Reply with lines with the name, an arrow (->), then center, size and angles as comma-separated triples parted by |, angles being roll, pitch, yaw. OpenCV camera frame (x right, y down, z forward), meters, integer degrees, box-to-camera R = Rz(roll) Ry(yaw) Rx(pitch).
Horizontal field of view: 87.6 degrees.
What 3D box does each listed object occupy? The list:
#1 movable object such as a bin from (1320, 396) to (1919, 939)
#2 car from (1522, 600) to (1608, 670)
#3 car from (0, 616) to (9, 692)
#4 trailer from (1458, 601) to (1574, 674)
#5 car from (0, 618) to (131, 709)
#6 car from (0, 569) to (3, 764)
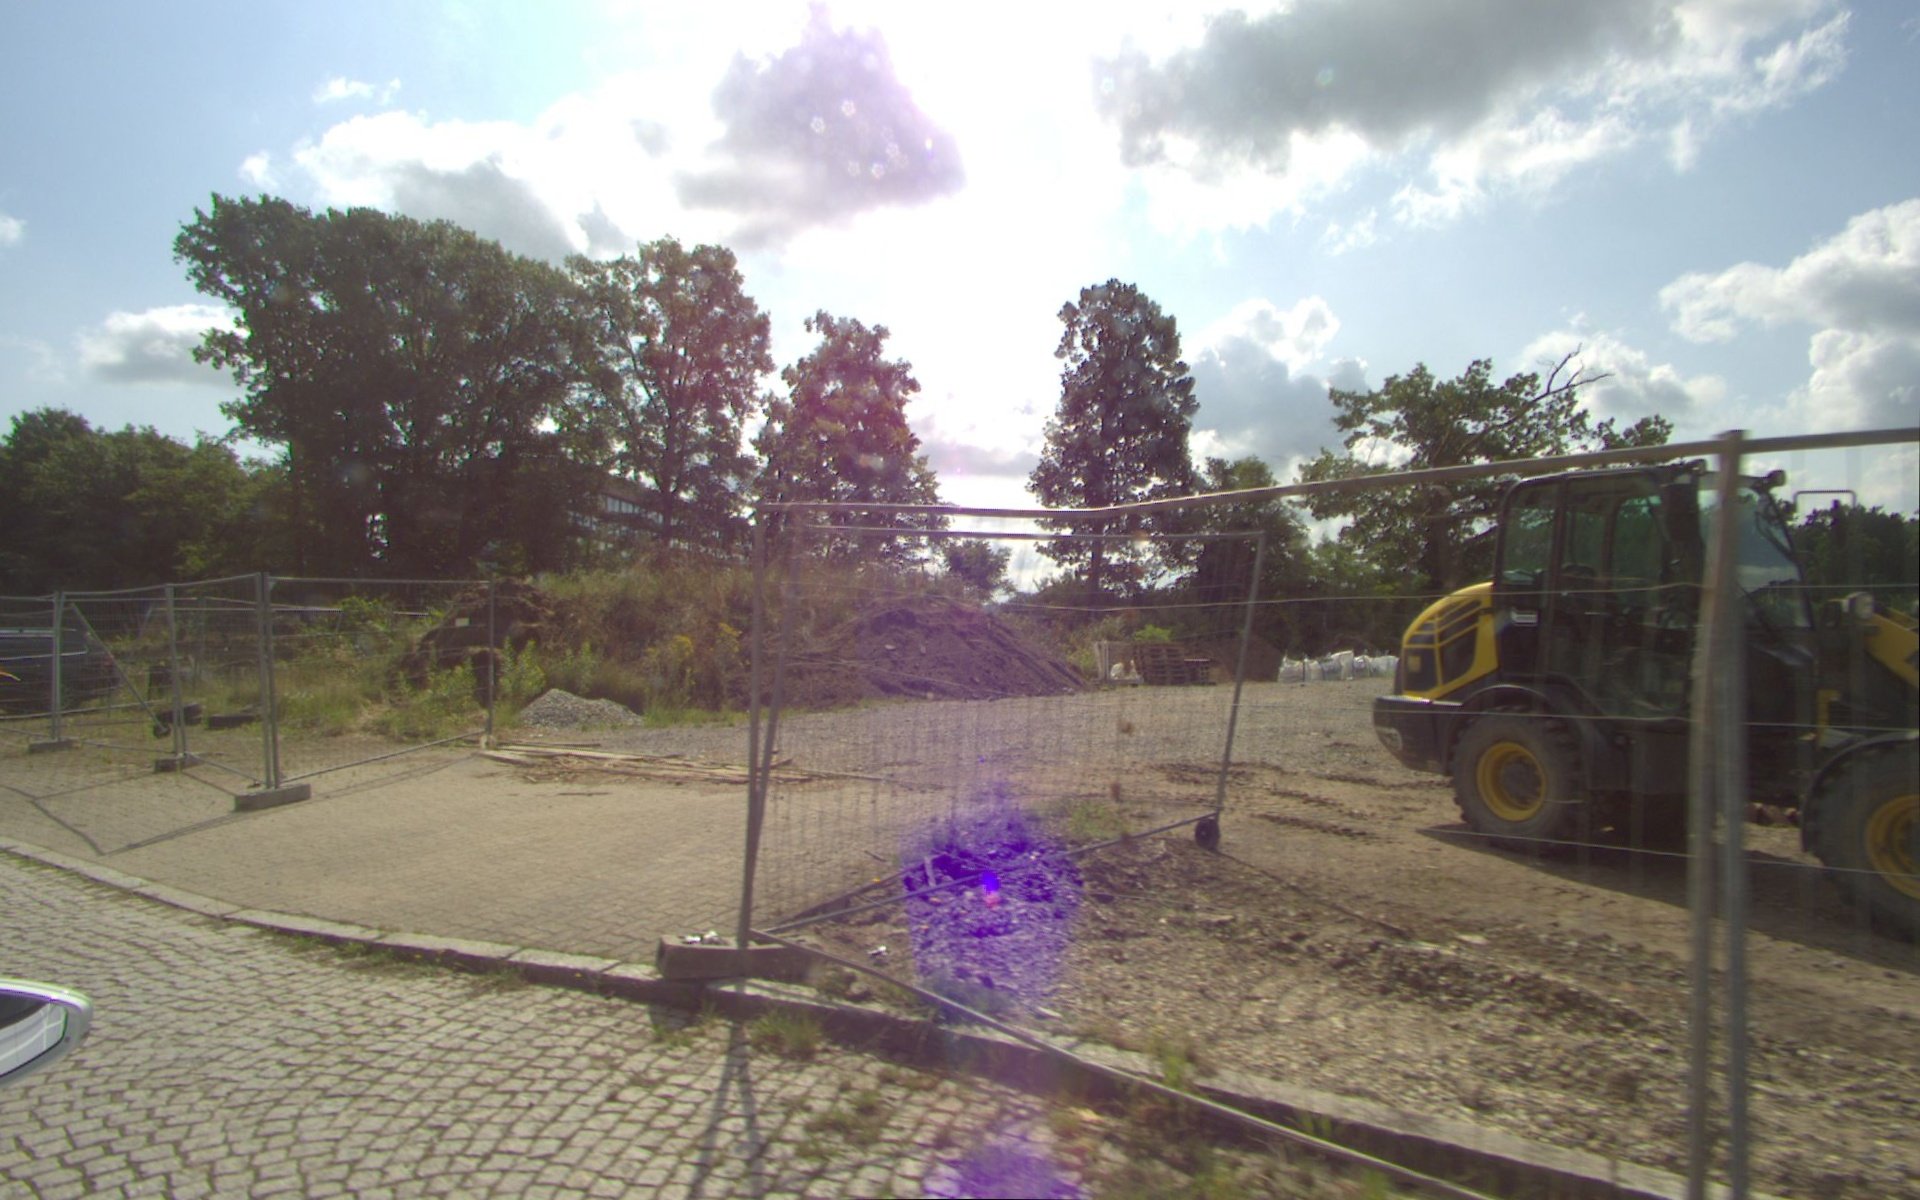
movable object such as a bin -> 5.090, 0.330, 5.834 | 2.119, 2.555, 5.626 | 0, 0, -30
car -> 24.381, 1.391, 40.261 | 2.220, 2.624, 5.398 | -1, -1, 39
car -> -20.822, 1.091, 18.797 | 1.720, 1.526, 3.982 | -1, 0, 29
trailer -> 20.450, 1.344, 36.737 | 4.786, 2.504, 1.947 | 1, -1, -37
car -> -16.863, 1.080, 16.642 | 1.718, 1.494, 4.451 | -1, 0, 27
car -> -13.089, 0.737, 11.411 | 5.598, 2.080, 1.910 | -1, -1, 33
